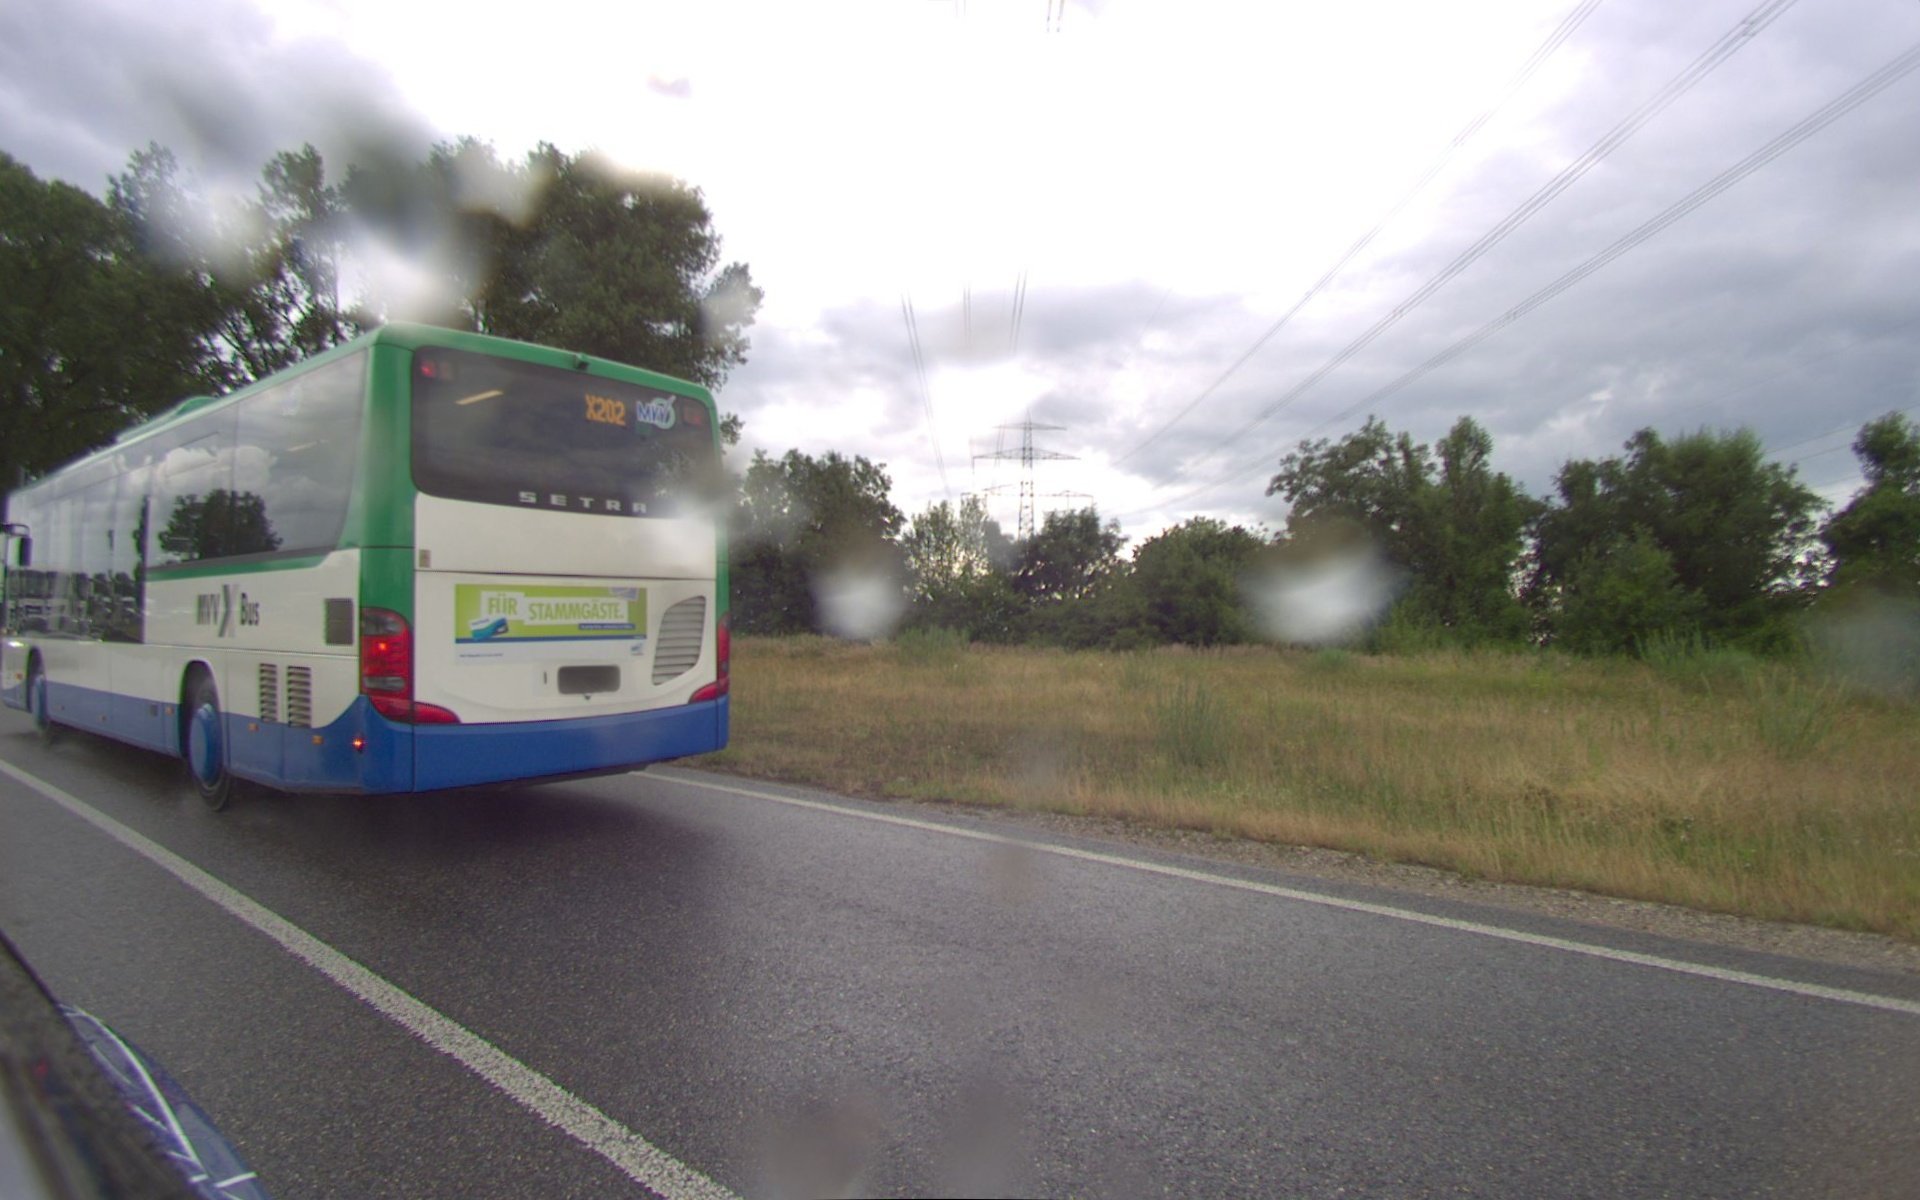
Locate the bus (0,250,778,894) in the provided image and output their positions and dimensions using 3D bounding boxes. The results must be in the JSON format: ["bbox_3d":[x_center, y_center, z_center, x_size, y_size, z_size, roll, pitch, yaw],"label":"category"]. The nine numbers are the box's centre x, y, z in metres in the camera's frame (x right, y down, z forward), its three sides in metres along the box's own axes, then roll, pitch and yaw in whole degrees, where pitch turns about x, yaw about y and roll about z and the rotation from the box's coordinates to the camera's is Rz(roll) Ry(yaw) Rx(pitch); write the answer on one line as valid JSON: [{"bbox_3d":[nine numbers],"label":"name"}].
[{"bbox_3d":[-7.006,-0.042,10.245,12.489,3.323,2.731,-1,-1,39],"label":"bus"}]
